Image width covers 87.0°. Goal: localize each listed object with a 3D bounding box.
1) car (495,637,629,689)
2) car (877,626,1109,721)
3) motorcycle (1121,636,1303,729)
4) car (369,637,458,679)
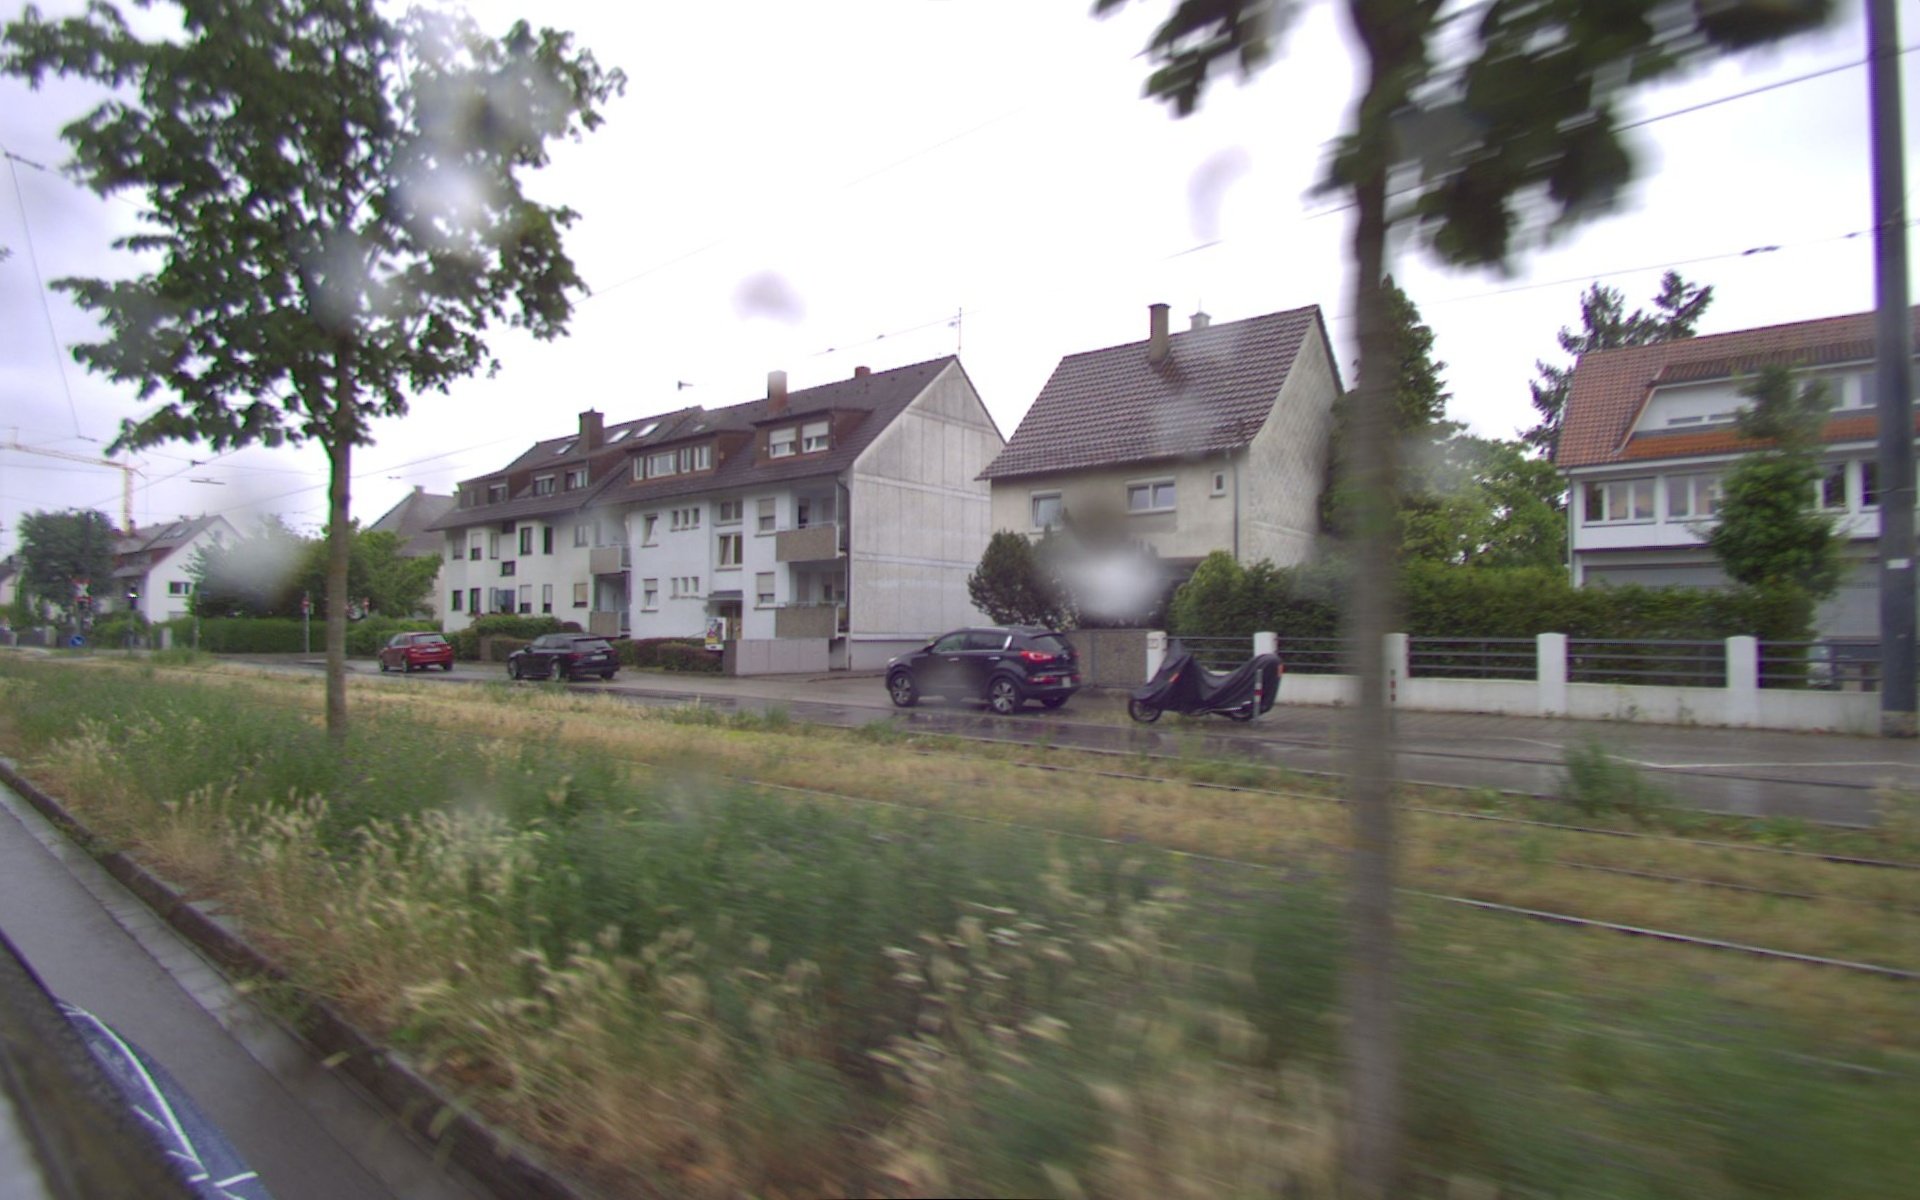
[{"bbox_3d":[-12.415,1.895,31.413,4.761,1.421,1.972,-2,-1,43],"label":"car"},{"bbox_3d":[0.596,1.377,20.328,4.383,1.687,1.974,-1,-2,39],"label":"car"},{"bbox_3d":[4.154,1.343,16.860,2.646,1.421,1.269,0,0,-7],"label":"motorcycle"},{"bbox_3d":[-20.921,2.179,38.668,4.000,1.468,1.778,-2,-1,43],"label":"car"}]
